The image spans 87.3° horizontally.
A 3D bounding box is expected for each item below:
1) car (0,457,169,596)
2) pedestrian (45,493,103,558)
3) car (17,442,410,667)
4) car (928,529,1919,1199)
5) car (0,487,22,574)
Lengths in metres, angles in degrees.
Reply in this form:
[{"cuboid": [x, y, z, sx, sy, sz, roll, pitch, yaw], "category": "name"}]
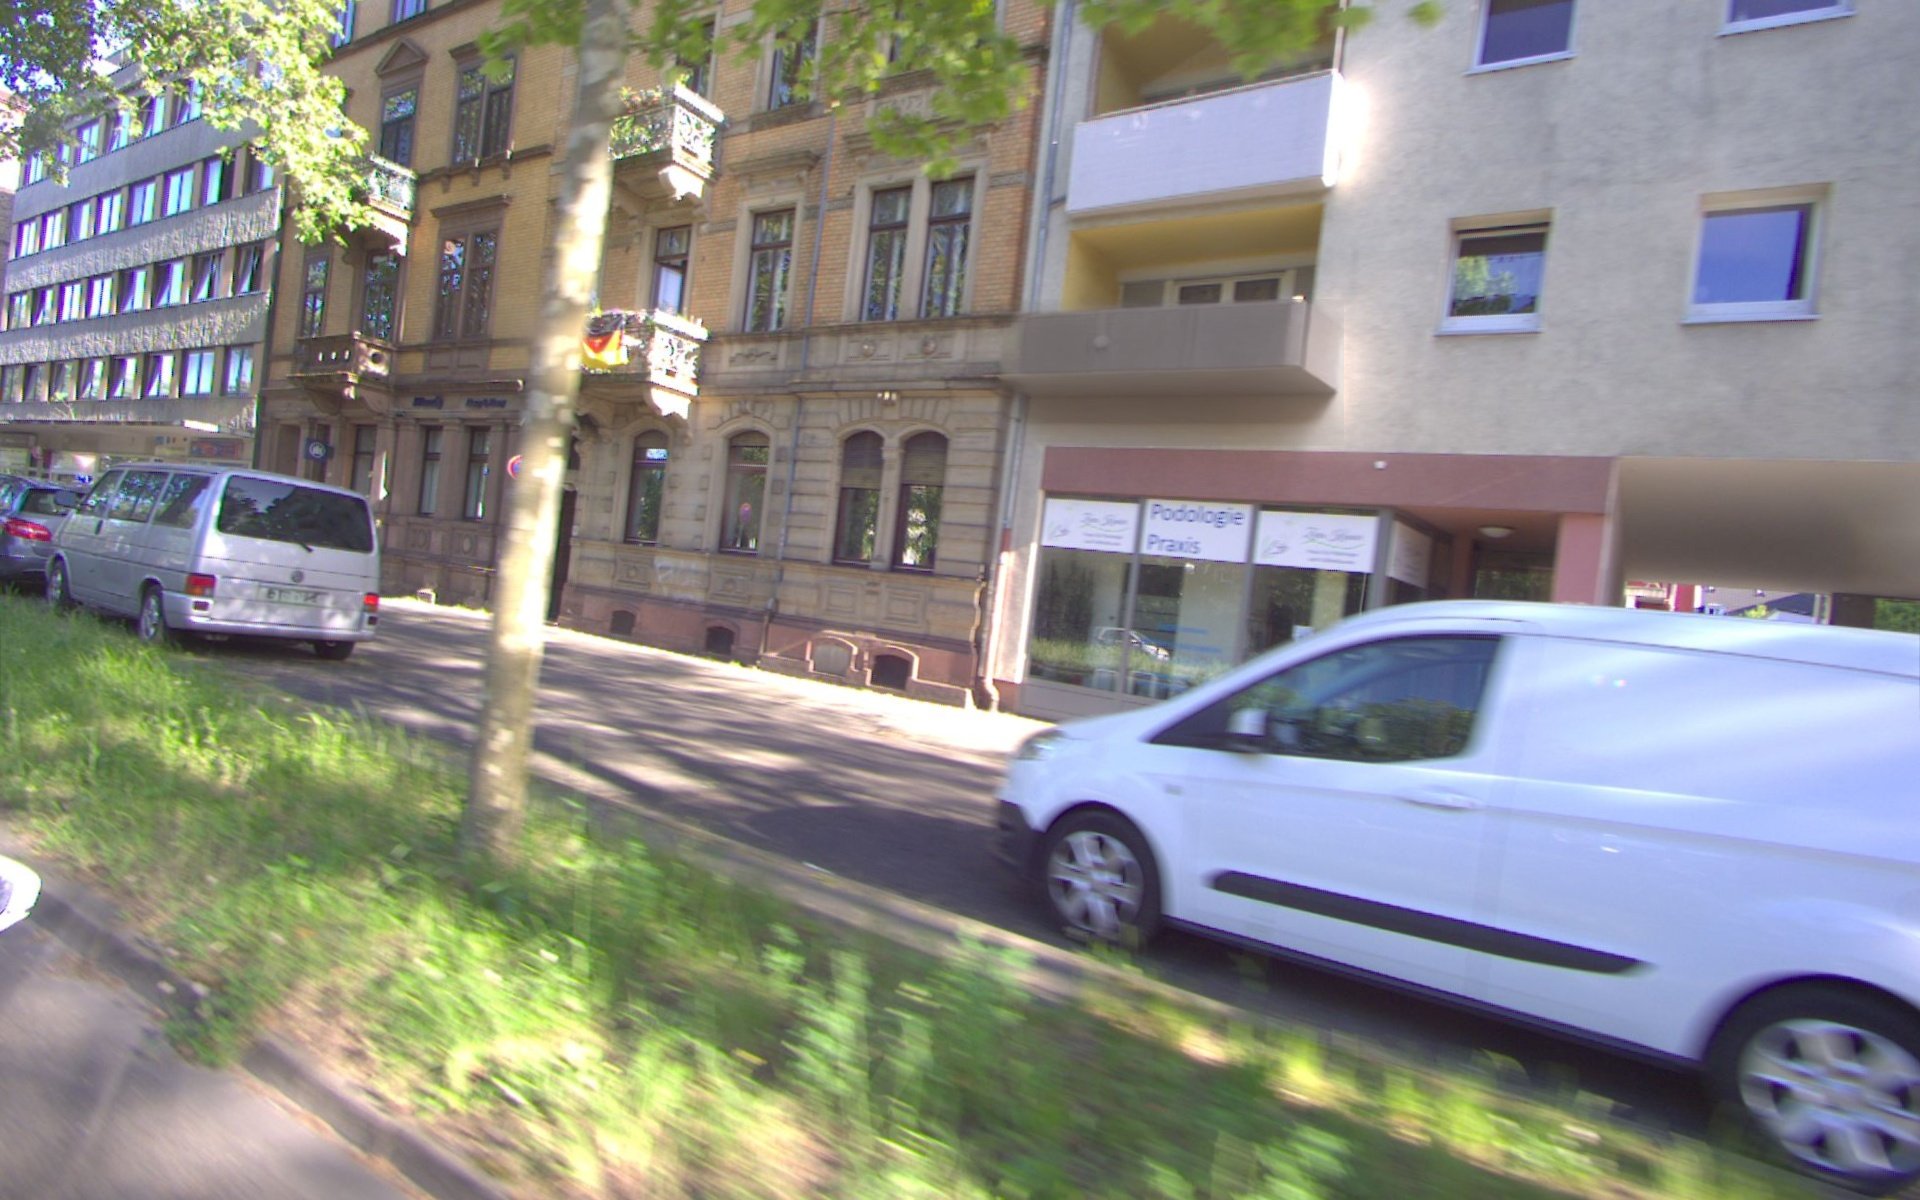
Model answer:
[{"cuboid": [-13.124, -1.118, 14.176, 4.287, 1.519, 1.707, 7, -2, 33], "category": "car"}, {"cuboid": [-26.862, -2.243, 30.508, 0.703, 1.781, 1.001, 8, -1, 33], "category": "pedestrian"}, {"cuboid": [-8.355, -0.567, 11.116, 4.722, 1.836, 1.868, 7, -2, 34], "category": "car"}, {"cuboid": [2.067, 0.797, 4.321, 4.076, 1.687, 1.627, 7, -2, 35], "category": "car"}, {"cuboid": [-18.837, -1.501, 18.068, 4.593, 1.483, 1.681, 7, -2, 32], "category": "car"}]
